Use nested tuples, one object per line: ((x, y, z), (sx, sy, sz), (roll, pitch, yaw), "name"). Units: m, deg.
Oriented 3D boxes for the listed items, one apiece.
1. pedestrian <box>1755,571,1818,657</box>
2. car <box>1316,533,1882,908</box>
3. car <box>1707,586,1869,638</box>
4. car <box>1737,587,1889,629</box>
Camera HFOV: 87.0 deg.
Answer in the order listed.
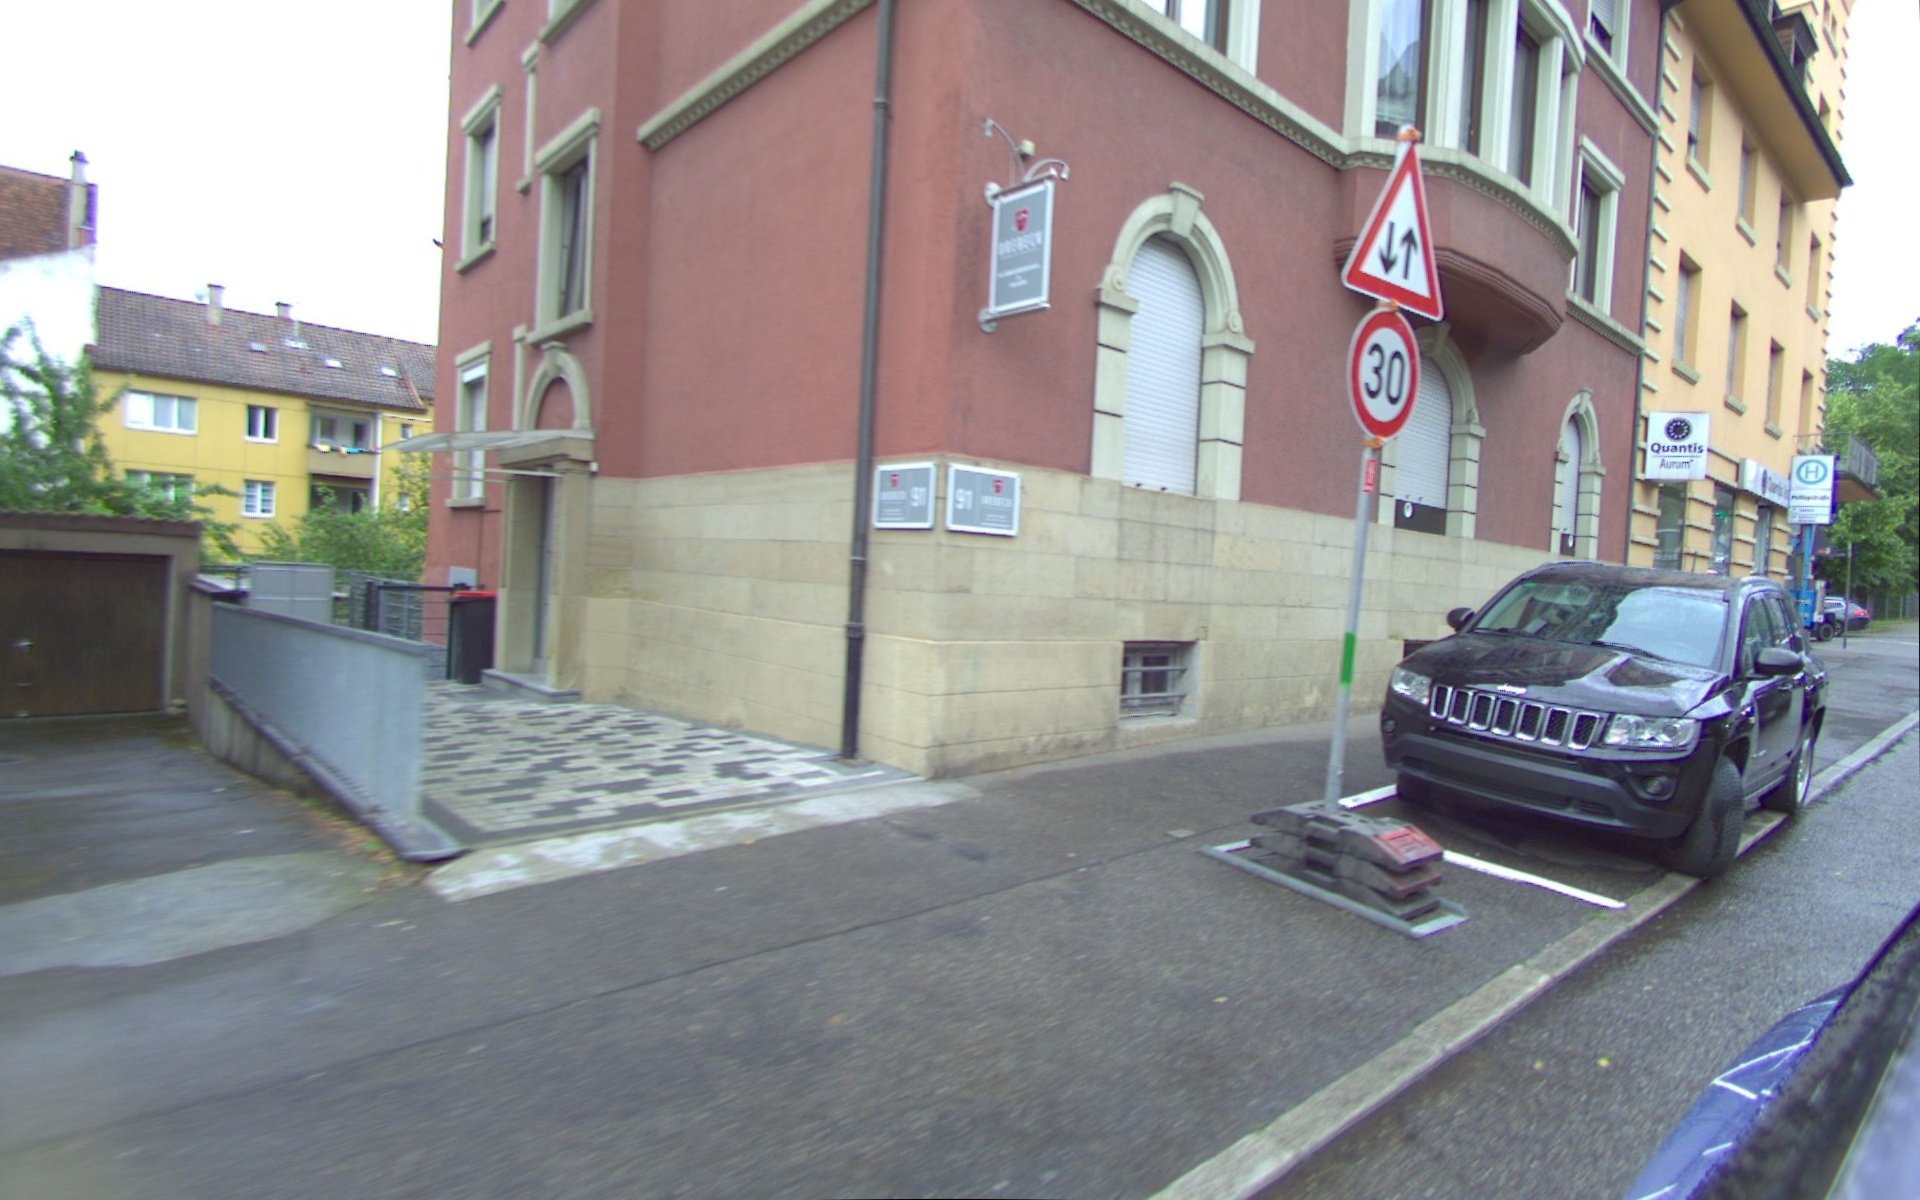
((16.104, 0.251, 19.730), (0.762, 1.608, 0.705), (3, 3, 30), "pedestrian")
((4.551, 0.467, 6.884), (4.616, 1.648, 1.882), (-2, 7, -41), "car")
((27.276, 0.350, 33.394), (4.026, 1.487, 1.858), (-3, 1, -8), "car")
((32.207, 0.302, 38.284), (4.268, 1.517, 1.970), (0, -1, 45), "car")
